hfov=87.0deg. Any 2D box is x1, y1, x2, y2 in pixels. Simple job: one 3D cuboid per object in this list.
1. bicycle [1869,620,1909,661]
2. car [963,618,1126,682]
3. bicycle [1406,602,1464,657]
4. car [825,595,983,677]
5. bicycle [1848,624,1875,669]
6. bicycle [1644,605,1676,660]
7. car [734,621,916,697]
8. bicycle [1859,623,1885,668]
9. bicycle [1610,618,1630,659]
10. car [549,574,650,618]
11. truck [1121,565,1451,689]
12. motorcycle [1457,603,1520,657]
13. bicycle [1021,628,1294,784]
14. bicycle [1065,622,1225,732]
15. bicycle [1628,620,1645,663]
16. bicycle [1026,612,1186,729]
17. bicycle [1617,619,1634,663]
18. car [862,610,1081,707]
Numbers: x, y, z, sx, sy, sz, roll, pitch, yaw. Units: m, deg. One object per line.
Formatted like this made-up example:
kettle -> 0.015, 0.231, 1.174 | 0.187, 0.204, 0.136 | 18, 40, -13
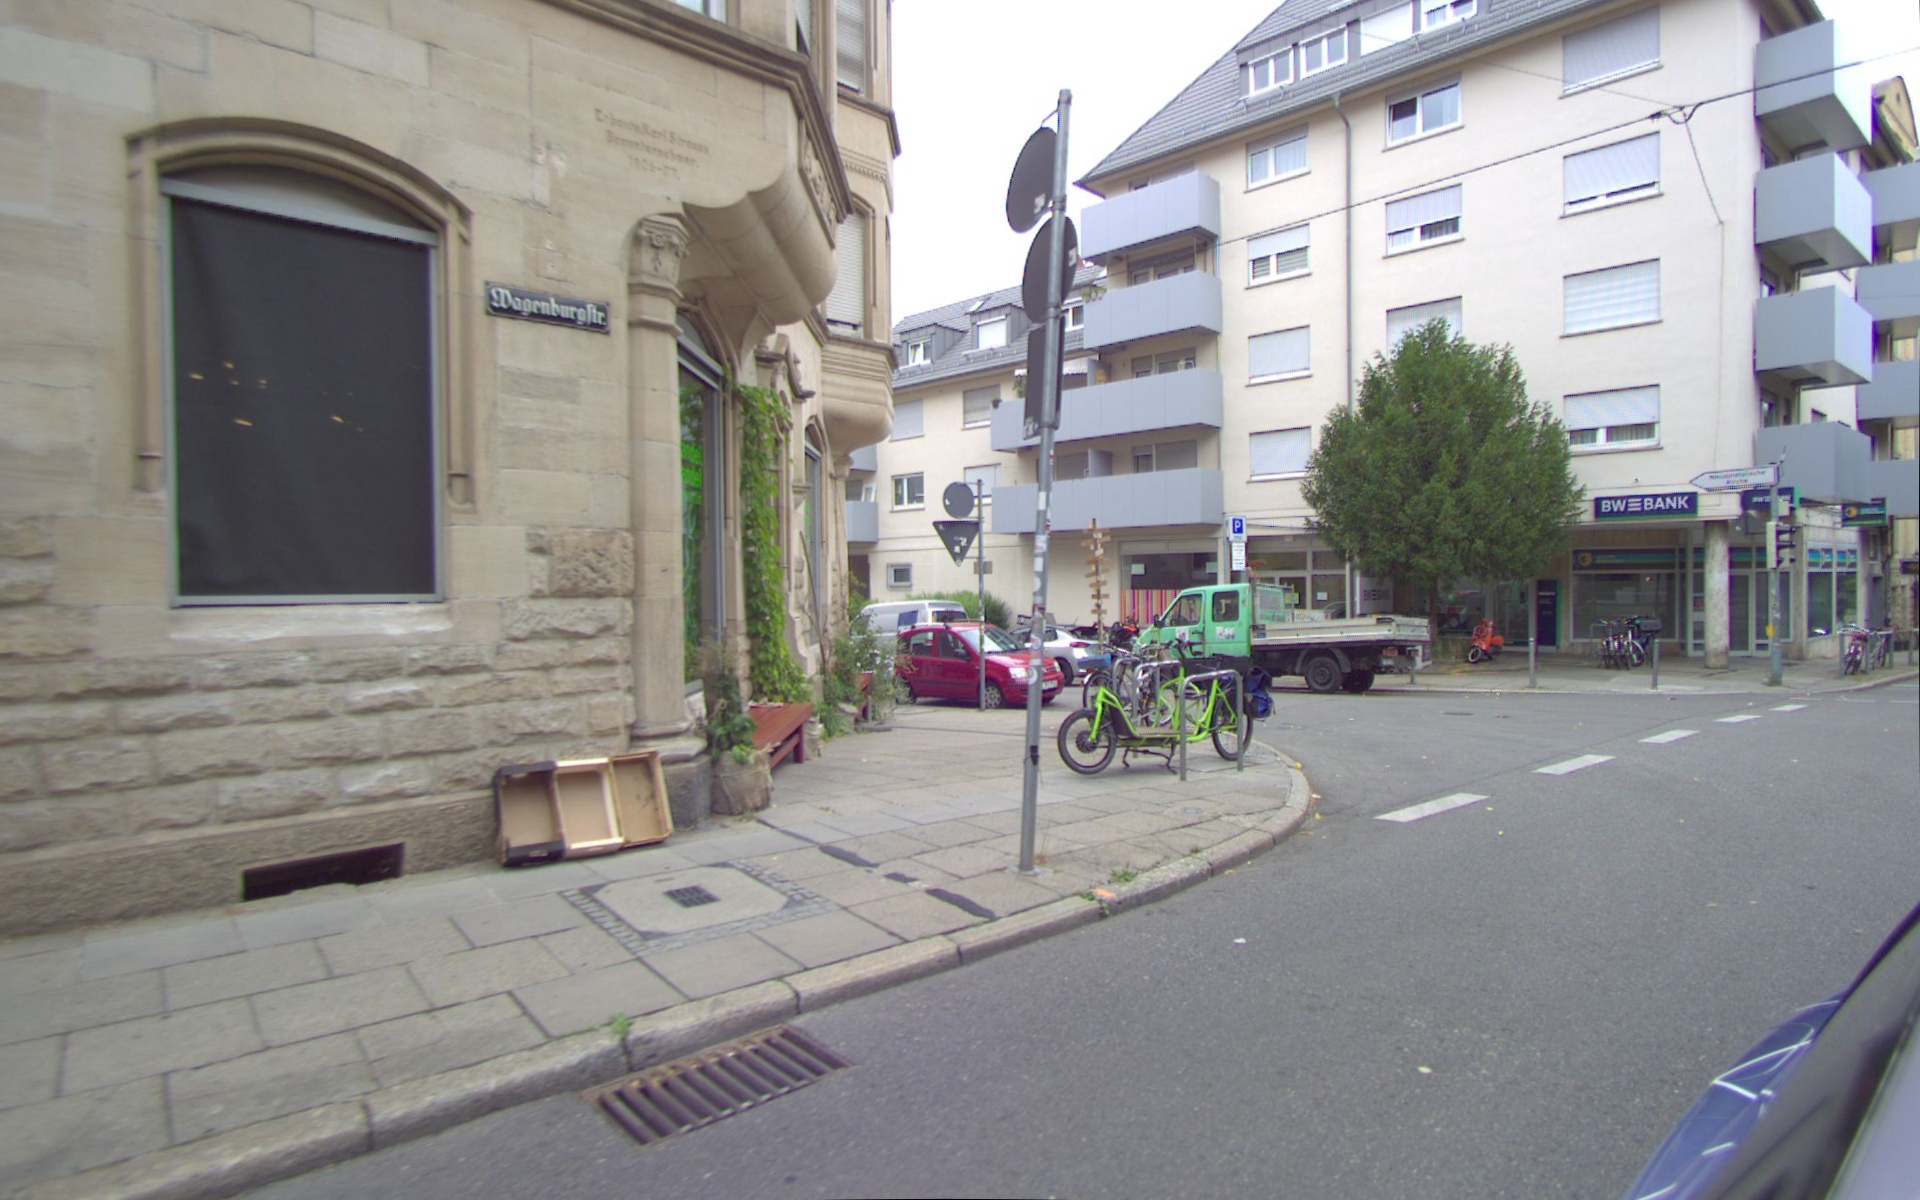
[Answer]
bicycle -> 21.536, 0.931, 23.451 | 1.261, 0.919, 0.442 | 0, -1, -36
car -> 1.963, 1.135, 24.282 | 3.784, 1.394, 1.539 | -1, -1, 43
bicycle -> 11.315, 0.681, 24.071 | 1.849, 1.271, 0.439 | 0, -1, -38
car -> -1.621, 1.021, 28.039 | 1.956, 2.096, 4.390 | 0, -3, -44
bicycle -> 19.369, 0.983, 21.745 | 1.261, 0.919, 0.154 | 0, -1, -36
bicycle -> 15.822, 0.725, 22.861 | 0.399, 1.220, 1.265 | -2, -2, 42
car -> -3.008, 1.239, 21.985 | 1.836, 1.397, 3.987 | -3, 0, -45
bicycle -> 19.512, 0.960, 21.644 | 1.261, 0.919, 0.154 | 0, -1, -36
bicycle -> 15.246, 0.882, 23.373 | 0.184, 0.919, 1.218 | -1, -1, 42
car -> -15.061, -0.144, 42.169 | 4.673, 1.722, 2.113 | -1, -1, 44
truck -> 6.410, 0.611, 20.471 | 5.837, 2.134, 2.514 | -3, -4, 43
motorcycle -> 12.405, 0.681, 23.718 | 1.896, 1.211, 0.591 | 0, 2, -40
bicycle -> 1.821, 0.842, 8.855 | 2.887, 1.164, 0.683 | 2, -1, -40
bicycle -> 2.163, 0.846, 11.652 | 2.021, 1.164, 0.683 | 2, -3, -40
bicycle -> 15.006, 0.911, 22.446 | 0.120, 0.919, 1.265 | -1, -1, 42
bicycle -> 1.806, 0.794, 12.220 | 2.343, 1.293, 0.459 | 0, -1, -40
bicycle -> 14.856, 0.904, 22.583 | 0.141, 0.918, 1.231 | 0, 1, 42
car -> 0.121, 1.054, 18.773 | 1.642, 1.513, 3.997 | -4, 0, -45
